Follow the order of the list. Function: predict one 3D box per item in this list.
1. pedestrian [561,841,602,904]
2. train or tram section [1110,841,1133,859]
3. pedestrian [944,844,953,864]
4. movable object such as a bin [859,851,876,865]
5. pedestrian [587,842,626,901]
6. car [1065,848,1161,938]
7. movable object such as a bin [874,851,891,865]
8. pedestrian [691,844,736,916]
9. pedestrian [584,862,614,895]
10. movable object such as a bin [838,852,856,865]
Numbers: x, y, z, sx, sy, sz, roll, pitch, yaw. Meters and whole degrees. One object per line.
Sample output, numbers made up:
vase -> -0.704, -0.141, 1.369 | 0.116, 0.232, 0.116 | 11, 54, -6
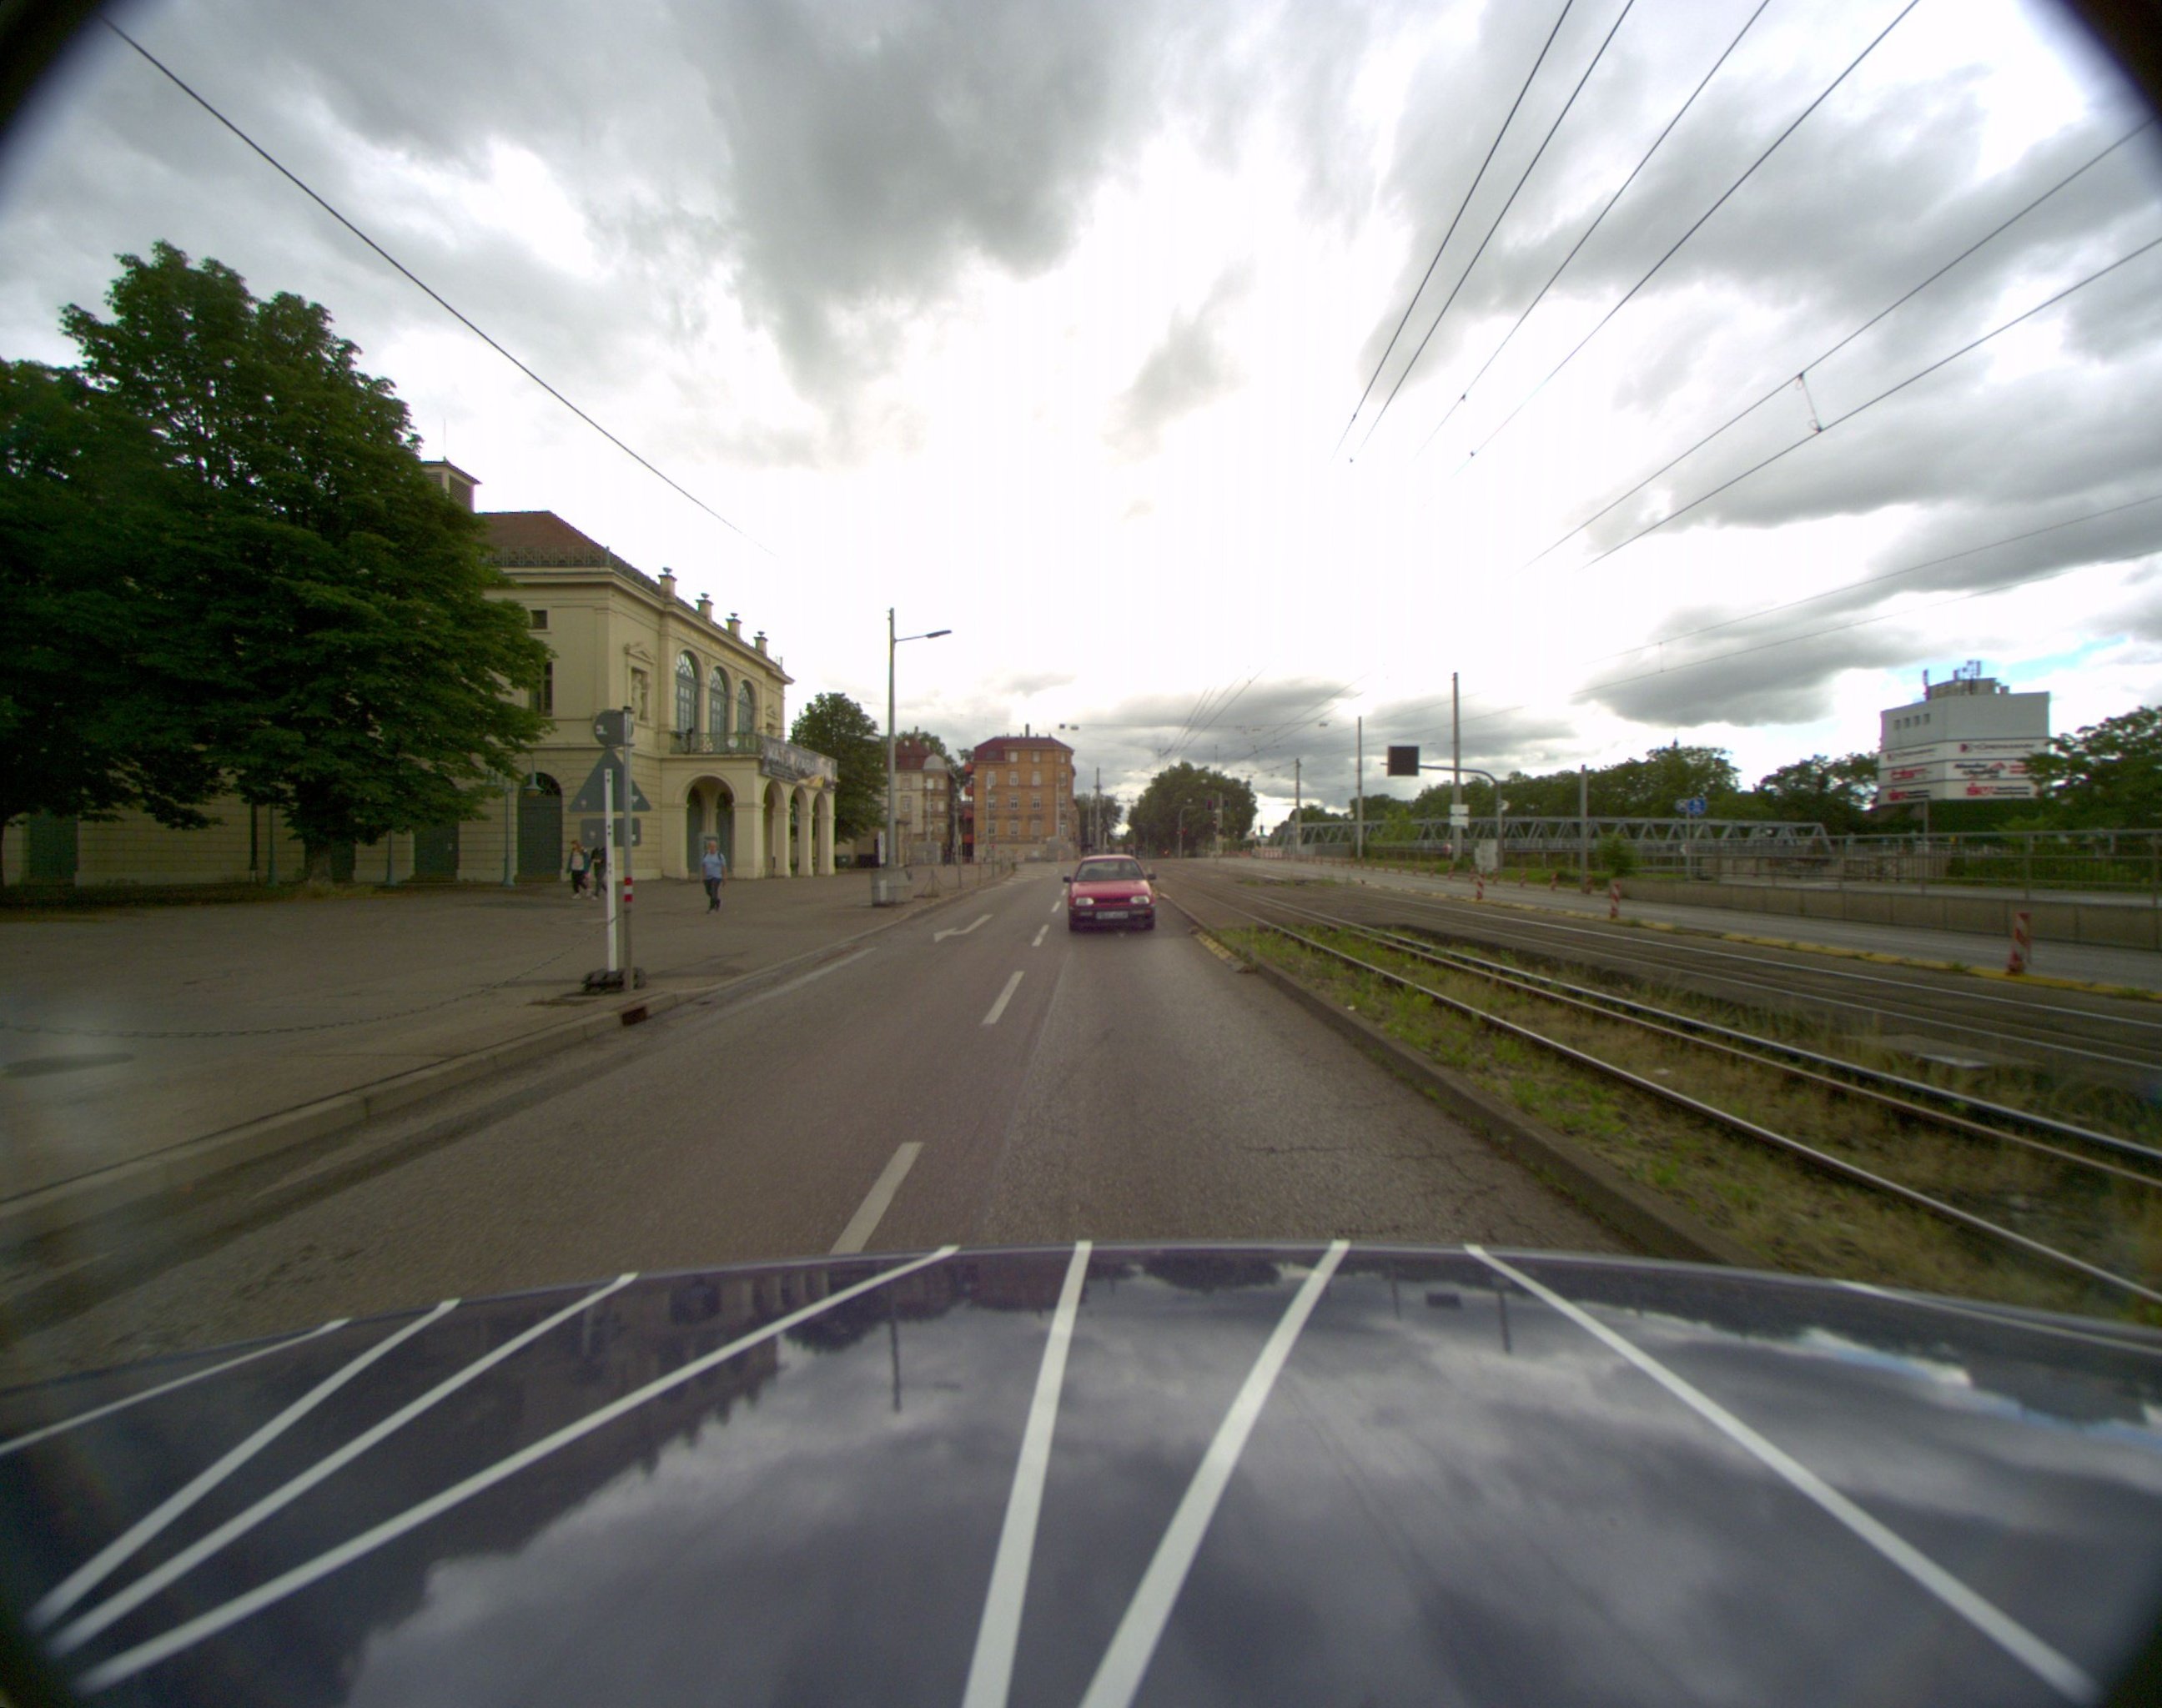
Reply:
pedestrian -> -14.412, 0.516, 21.938 | 0.596, 1.782, 0.808 | 0, 1, 1
train or tram section -> 8.382, -0.936, 159.916 | 3.739, 3.346, 17.552 | 1, 1, 0
pedestrian -> -11.919, 0.022, 68.402 | 0.672, 1.757, 0.937 | 0, 1, 1
movable object such as a bin -> -20.950, 0.391, 74.651 | 1.297, 1.398, 1.379 | 0, 1, 1
pedestrian -> -13.698, 0.490, 21.944 | 0.598, 1.689, 0.790 | 0, 1, 1
car -> 0.598, 0.688, 15.773 | 1.681, 1.434, 4.118 | -2, 2, 1
movable object such as a bin -> -19.483, 0.354, 74.574 | 1.297, 1.361, 1.379 | 0, 1, 1
pedestrian -> -9.274, 0.639, 19.197 | 0.672, 1.757, 0.937 | 0, 1, 1
pedestrian -> -14.976, 0.760, 23.616 | 0.760, 0.995, 0.595 | 0, 1, -34
movable object such as a bin -> -22.808, 0.460, 74.098 | 1.297, 1.274, 1.193 | 0, 1, 1
